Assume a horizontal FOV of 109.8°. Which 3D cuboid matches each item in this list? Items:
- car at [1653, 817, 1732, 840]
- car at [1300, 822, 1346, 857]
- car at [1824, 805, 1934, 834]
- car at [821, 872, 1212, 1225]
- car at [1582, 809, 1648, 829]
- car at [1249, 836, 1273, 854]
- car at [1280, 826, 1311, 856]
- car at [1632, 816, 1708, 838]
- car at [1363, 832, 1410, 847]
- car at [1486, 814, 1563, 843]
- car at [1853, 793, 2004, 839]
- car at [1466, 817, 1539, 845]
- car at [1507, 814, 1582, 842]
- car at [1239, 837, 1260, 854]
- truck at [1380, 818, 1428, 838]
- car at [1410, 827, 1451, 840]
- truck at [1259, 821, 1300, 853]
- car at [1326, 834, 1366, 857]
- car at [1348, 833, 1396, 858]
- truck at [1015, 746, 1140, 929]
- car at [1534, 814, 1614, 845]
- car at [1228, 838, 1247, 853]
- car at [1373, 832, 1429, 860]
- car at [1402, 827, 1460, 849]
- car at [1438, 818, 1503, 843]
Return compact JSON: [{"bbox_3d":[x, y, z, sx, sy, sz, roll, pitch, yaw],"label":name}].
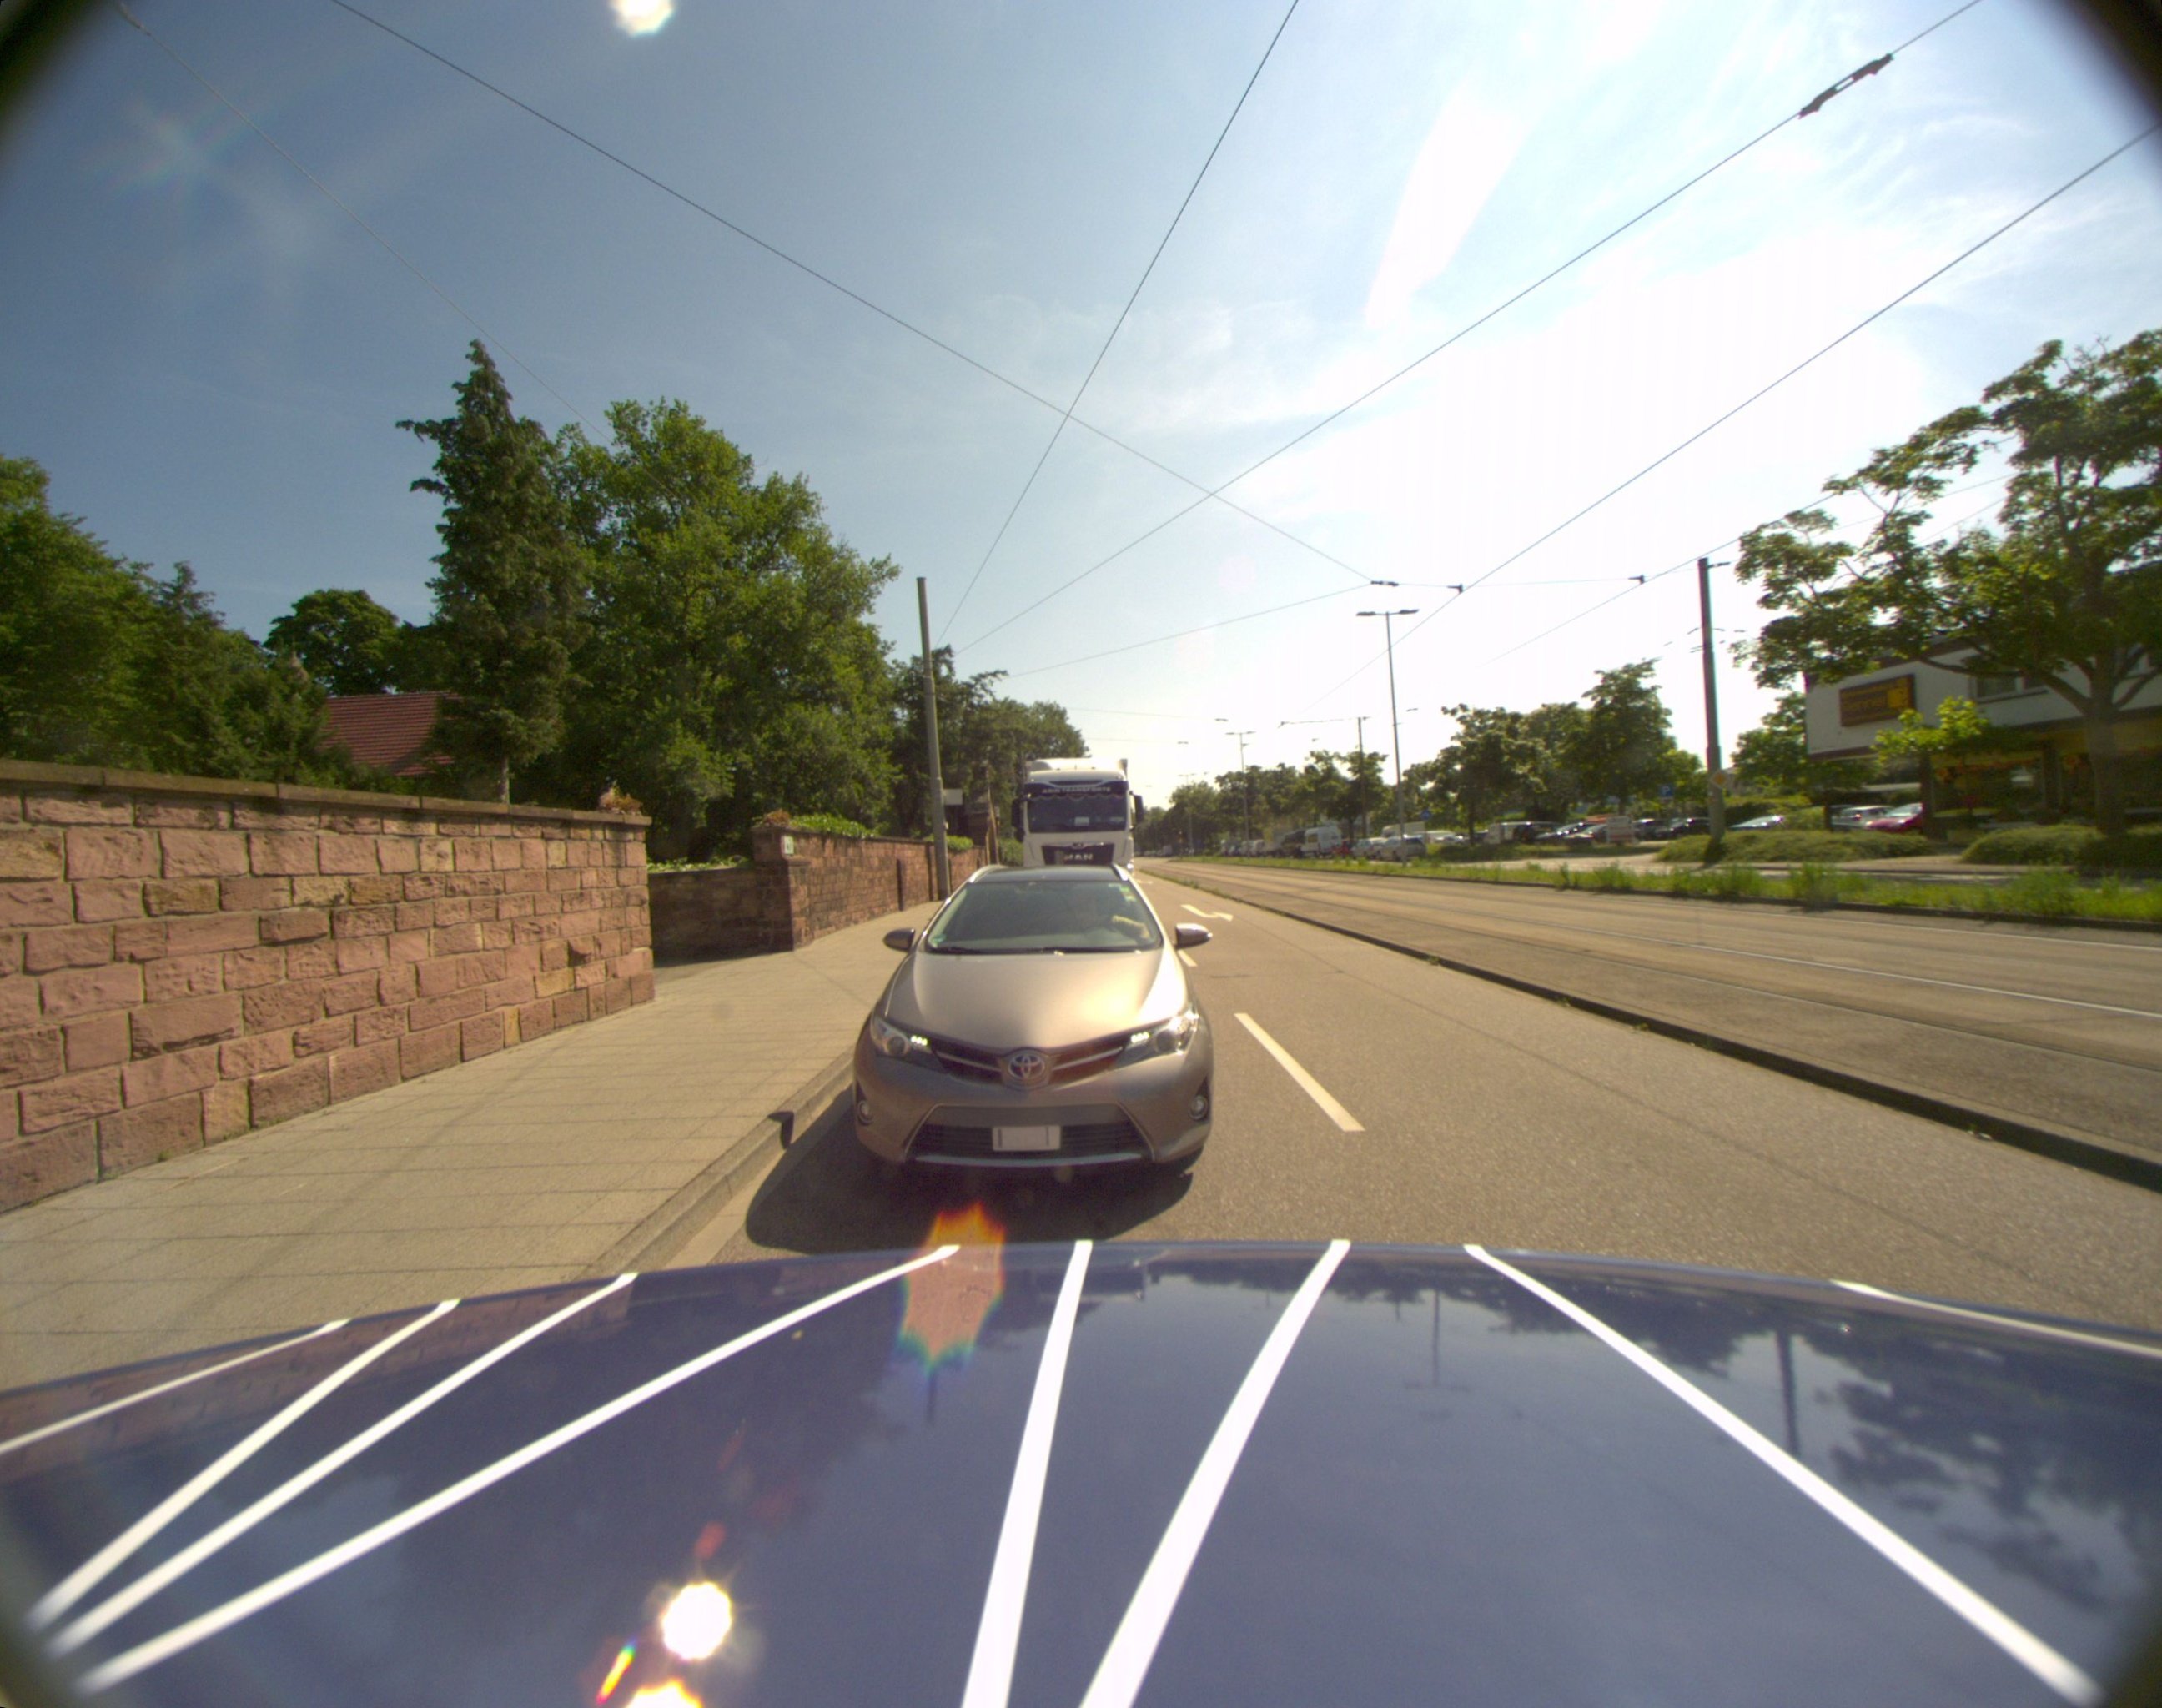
[{"bbox_3d":[44.057,-1.836,54.827,4.252,1.327,1.676,-3,0,2],"label":"car"},{"bbox_3d":[20.277,-1.206,63.988,2.062,2.638,5.203,-6,0,1],"label":"car"},{"bbox_3d":[44.310,-1.903,42.250,4.252,1.327,1.676,-3,0,2],"label":"car"},{"bbox_3d":[-0.260,0.898,5.305,1.654,1.374,4.000,-2,0,0],"label":"car"},{"bbox_3d":[43.987,-2.896,62.608,4.254,1.327,1.676,-3,0,-1],"label":"car"},{"bbox_3d":[20.648,-1.026,87.392,1.502,1.793,4.633,-6,0,1],"label":"car"},{"bbox_3d":[19.839,-1.185,70.394,1.502,2.609,4.007,-6,0,1],"label":"car"},{"bbox_3d":[44.193,-2.002,57.045,4.252,1.327,1.676,-3,0,2],"label":"car"},{"bbox_3d":[32.309,-1.571,80.396,4.253,1.327,1.676,-3,0,1],"label":"car"},{"bbox_3d":[30.689,-1.754,52.667,4.117,1.728,1.990,-3,1,-2],"label":"car"},{"bbox_3d":[35.258,-1.570,31.681,4.252,1.595,1.676,-3,1,2],"label":"car"},{"bbox_3d":[30.528,-1.666,55.138,4.117,1.728,1.990,-3,1,-2],"label":"car"},{"bbox_3d":[30.575,-1.700,50.200,3.810,1.625,1.676,-3,1,2],"label":"car"},{"bbox_3d":[20.884,-1.048,94.218,1.502,1.835,4.059,-6,0,0],"label":"car"},{"bbox_3d":[44.715,-3.539,105.239,5.652,2.367,1.990,-3,1,-2],"label":"truck"},{"bbox_3d":[43.727,-2.597,95.039,4.253,1.327,1.676,-3,0,1],"label":"car"},{"bbox_3d":[20.514,-1.724,78.833,2.508,2.917,5.903,-6,0,2],"label":"truck"},{"bbox_3d":[20.472,-0.631,58.754,1.675,1.524,3.793,-6,0,1],"label":"car"},{"bbox_3d":[20.472,-0.593,53.615,1.675,1.524,4.256,-6,0,1],"label":"car"},{"bbox_3d":[0.015,-0.415,21.210,2.628,3.906,9.285,-2,1,1],"label":"truck"},{"bbox_3d":[30.513,-1.510,47.115,3.810,1.625,1.676,-3,1,2],"label":"car"},{"bbox_3d":[20.614,-1.061,100.070,1.502,1.775,3.687,-6,0,0],"label":"car"},{"bbox_3d":[20.255,-0.520,48.229,1.675,1.524,4.256,-6,0,1],"label":"car"},{"bbox_3d":[31.163,-1.381,67.879,2.594,1.800,5.741,-3,0,2],"label":"car"},{"bbox_3d":[31.225,-1.855,60.976,4.117,1.728,1.990,-3,1,-2],"label":"car"}]
